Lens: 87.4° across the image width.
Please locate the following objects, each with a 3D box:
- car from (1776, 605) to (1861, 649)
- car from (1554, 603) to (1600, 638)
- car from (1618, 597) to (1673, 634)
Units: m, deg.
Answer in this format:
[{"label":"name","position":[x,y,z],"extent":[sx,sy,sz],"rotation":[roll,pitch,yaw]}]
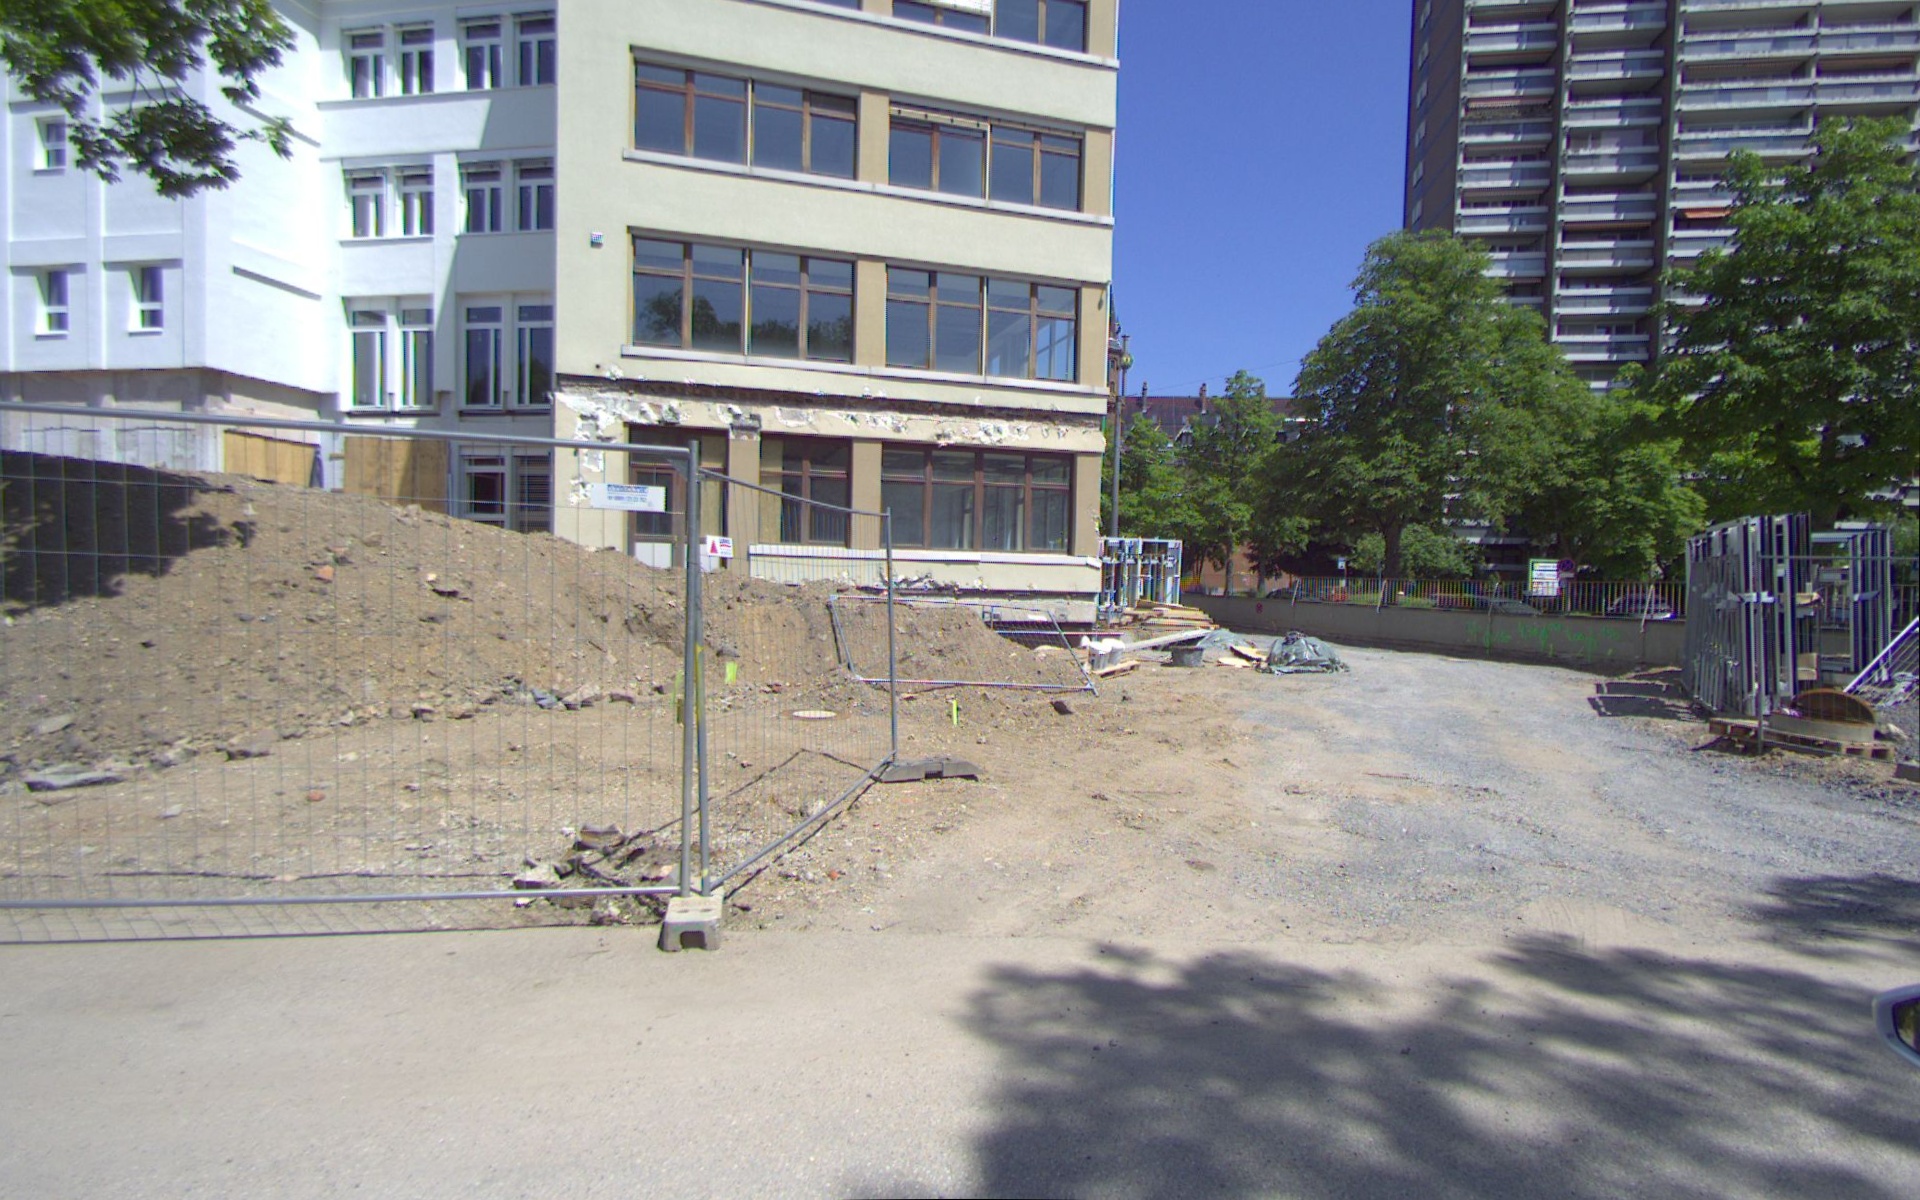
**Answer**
[{"label":"car","position":[29.966,0.910,35.148],"extent":[1.609,1.406,3.670],"rotation":[2,1,31]},{"label":"car","position":[26.859,0.860,43.817],"extent":[1.609,1.406,3.670],"rotation":[2,1,31]},{"label":"car","position":[28.422,0.606,41.749],"extent":[1.609,1.406,3.670],"rotation":[2,1,31]}]
